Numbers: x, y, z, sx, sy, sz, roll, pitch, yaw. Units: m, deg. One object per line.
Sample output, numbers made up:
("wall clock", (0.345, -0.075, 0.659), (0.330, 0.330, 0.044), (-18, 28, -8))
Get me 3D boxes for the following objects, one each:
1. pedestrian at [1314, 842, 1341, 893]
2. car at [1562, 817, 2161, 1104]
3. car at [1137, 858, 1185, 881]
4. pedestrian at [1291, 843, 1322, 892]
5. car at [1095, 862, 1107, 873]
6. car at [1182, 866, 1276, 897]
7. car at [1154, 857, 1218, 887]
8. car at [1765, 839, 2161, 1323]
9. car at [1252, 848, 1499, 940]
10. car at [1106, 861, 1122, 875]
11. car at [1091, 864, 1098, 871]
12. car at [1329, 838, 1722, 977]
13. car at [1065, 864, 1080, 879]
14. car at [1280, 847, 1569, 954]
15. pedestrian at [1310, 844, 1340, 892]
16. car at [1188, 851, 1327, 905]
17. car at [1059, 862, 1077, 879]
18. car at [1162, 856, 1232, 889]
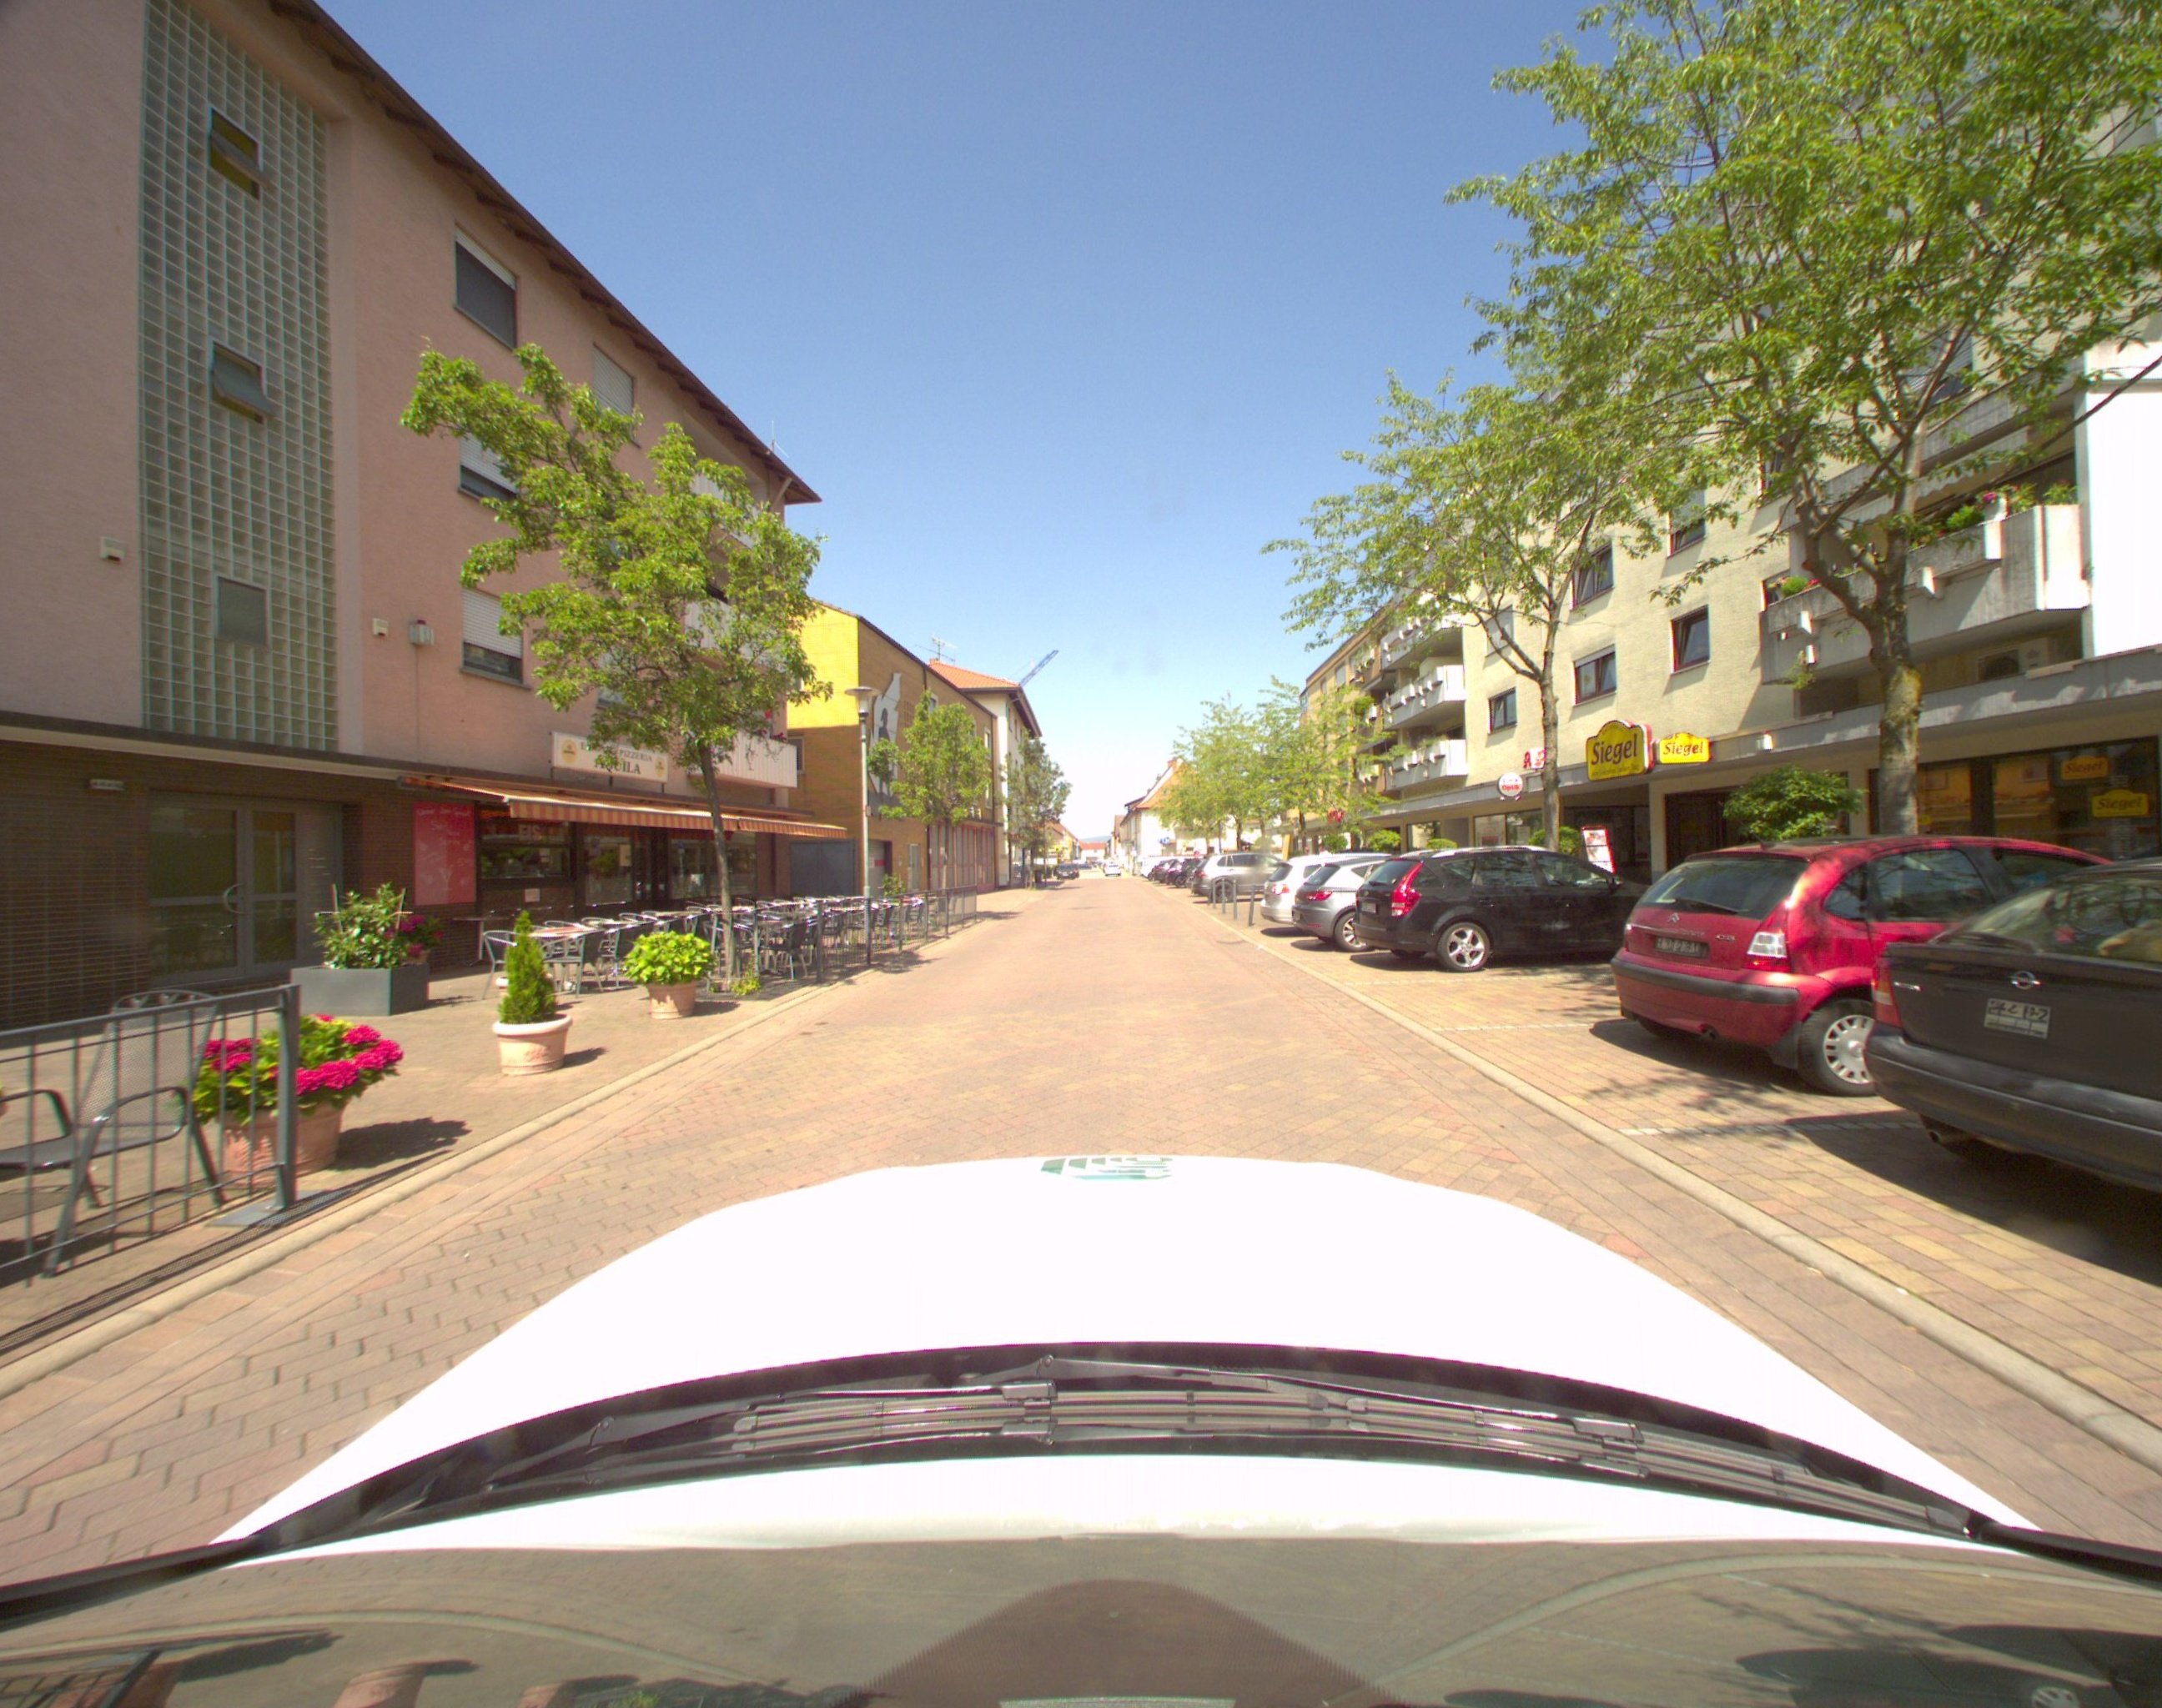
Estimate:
("pedestrian", (8.872, 0.487, 29.350), (0.831, 1.787, 0.810), (-2, 0, 14))
("car", (5.720, 0.601, 5.612), (3.709, 1.534, 1.766), (-3, 0, 1))
("car", (6.293, 1.226, 64.254), (3.471, 1.700, 1.534), (-3, -1, -4))
("pedestrian", (8.417, 0.493, 30.412), (0.836, 1.787, 0.805), (-2, 0, -5))
("car", (2.922, 1.991, 117.928), (1.740, 1.481, 3.631), (-2, 0, 2))
("car", (5.936, 1.100, 32.794), (3.513, 1.142, 1.272), (-2, -1, -3))
("car", (6.135, 1.046, 47.905), (3.510, 1.625, 1.711), (-2, -1, 0))
("car", (5.391, 0.643, 3.065), (4.082, 1.431, 1.784), (-3, 0, 1))
("car", (5.547, 0.722, 15.727), (4.136, 1.574, 1.760), (-2, 0, 3))
("car", (3.977, 1.672, 98.245), (1.824, 1.532, 3.947), (-2, 0, 2))
("car", (3.421, 3.508, 211.822), (1.740, 1.481, 3.631), (-2, 0, 2))
("car", (5.711, 0.647, 10.861), (4.171, 1.541, 1.944), (-2, -1, -2))
("car", (-0.918, 1.949, 91.457), (1.502, 1.500, 3.829), (-2, 0, 2))
("car", (5.321, 0.712, 13.064), (3.916, 1.489, 1.719), (-2, -1, 6))
("pedestrian", (9.274, 0.509, 30.991), (0.836, 1.787, 0.805), (-2, 0, -5))
("car", (5.773, 0.766, 26.901), (4.230, 1.615, 1.558), (-2, -1, 0))
("car", (-1.270, 1.574, 79.507), (1.502, 1.500, 3.829), (-2, 0, 2))
("car", (6.242, 0.977, 44.098), (3.510, 1.655, 1.711), (-2, -1, 0))
